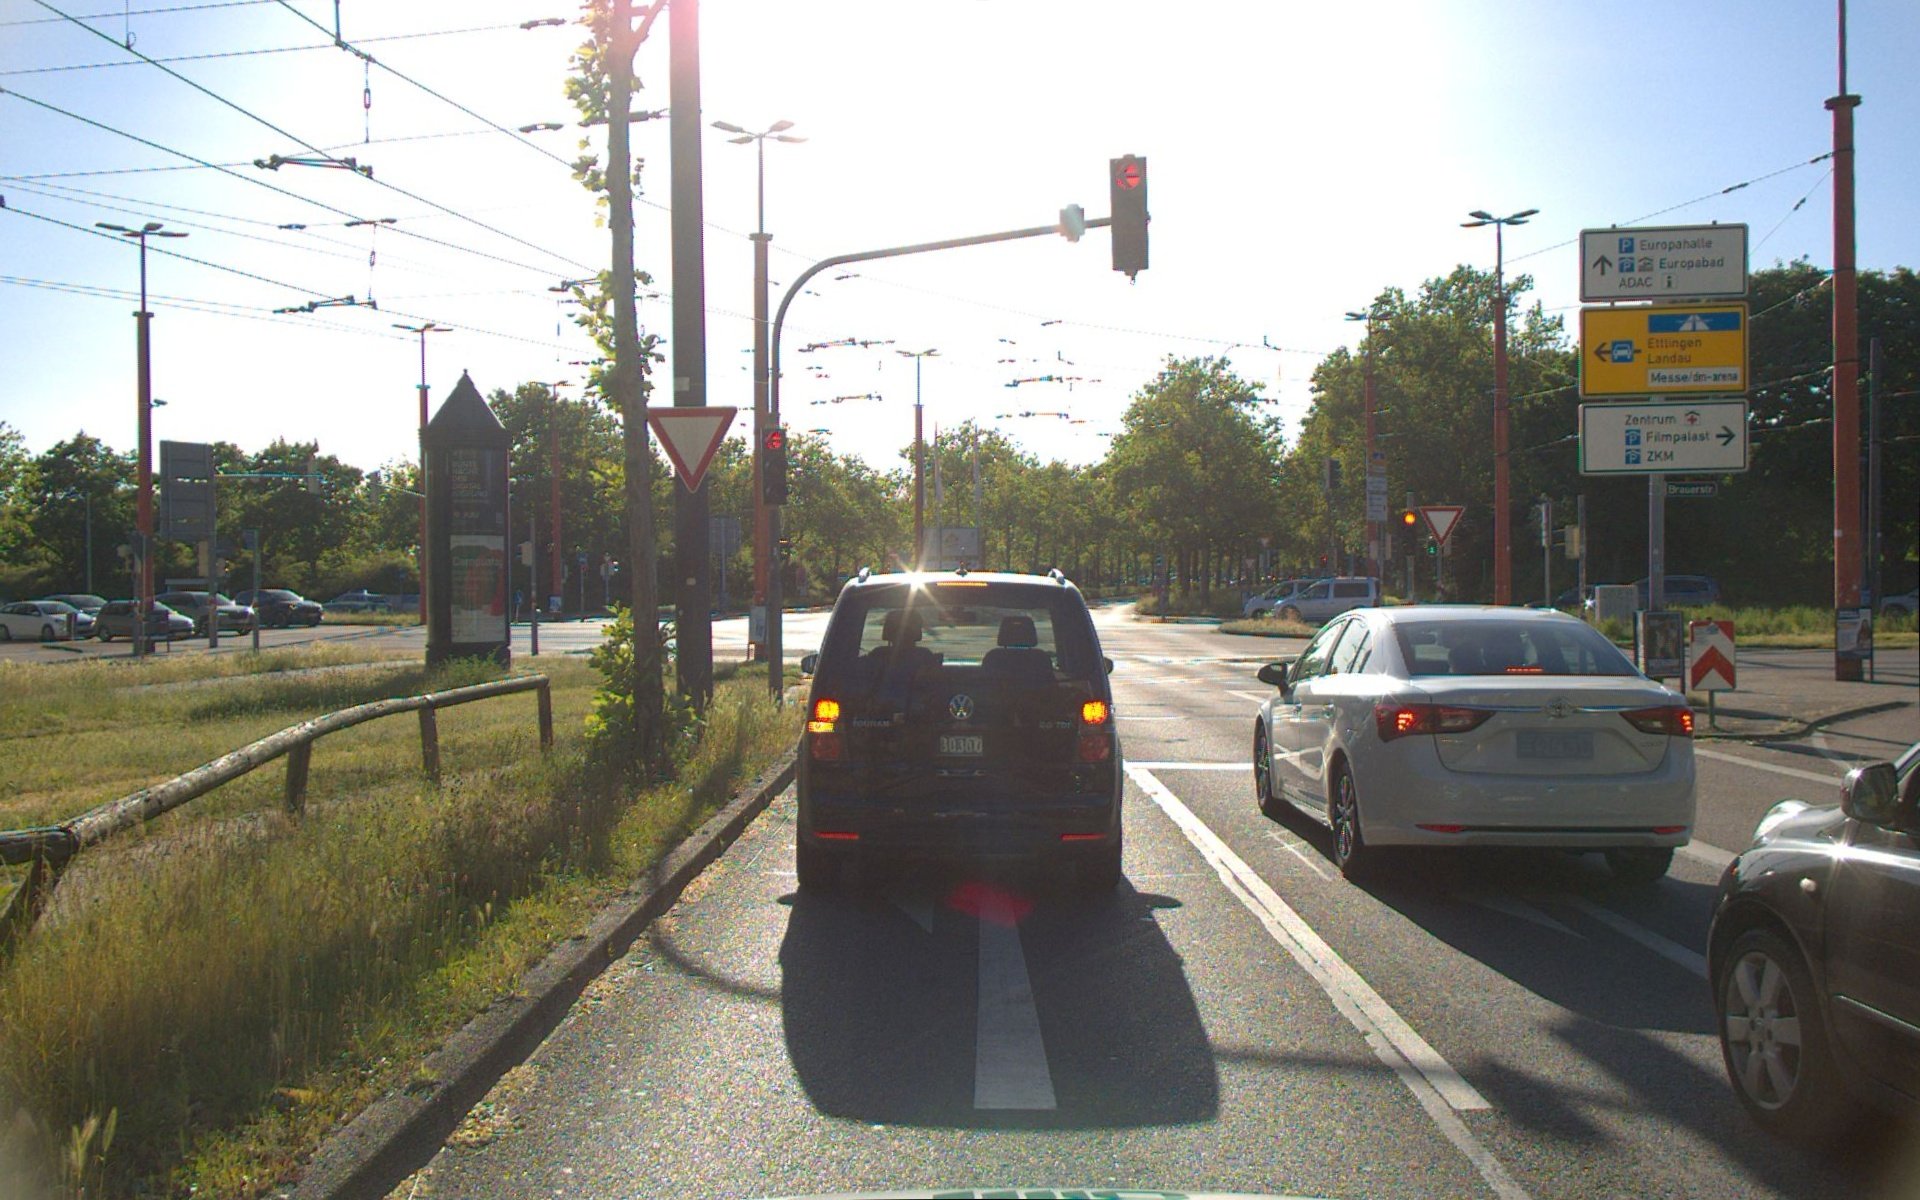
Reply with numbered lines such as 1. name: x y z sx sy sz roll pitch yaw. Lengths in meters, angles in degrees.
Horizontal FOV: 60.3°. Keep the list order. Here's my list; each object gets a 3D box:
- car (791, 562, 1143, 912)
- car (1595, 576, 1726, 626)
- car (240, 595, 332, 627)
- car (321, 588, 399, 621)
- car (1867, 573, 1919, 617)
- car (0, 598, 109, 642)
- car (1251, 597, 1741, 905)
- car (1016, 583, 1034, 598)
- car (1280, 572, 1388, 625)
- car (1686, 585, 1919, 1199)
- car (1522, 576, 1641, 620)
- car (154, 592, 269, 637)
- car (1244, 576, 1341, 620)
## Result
1. car: 0.000 0.644 9.799 1.666 1.650 3.896 0 0 -1
2. car: 24.525 0.030 57.909 4.097 1.673 1.758 1 0 26
3. car: -29.224 0.455 71.678 3.913 1.353 1.694 0 0 31
4. car: -31.911 0.232 87.929 4.026 1.685 1.799 0 0 32
5. car: 33.329 -0.156 56.650 3.887 1.466 1.685 1 0 27
6. car: -34.704 0.752 63.138 4.091 1.640 1.867 0 0 25
7. car: 2.975 0.730 10.138 1.685 1.463 4.198 1 0 1
8. car: 7.797 -1.130 199.281 1.874 1.664 4.003 1 0 6
9. car: 14.255 -0.052 63.011 3.754 1.923 1.763 1 0 22
10. car: 3.178 0.742 3.561 1.620 1.526 3.614 1 0 0
11. car: 23.347 -0.074 62.101 4.040 1.537 1.821 1 0 26
12. car: -28.999 0.543 64.056 3.907 1.673 1.999 0 0 24
13. car: 13.523 -0.086 67.205 3.570 1.684 1.679 1 0 25
